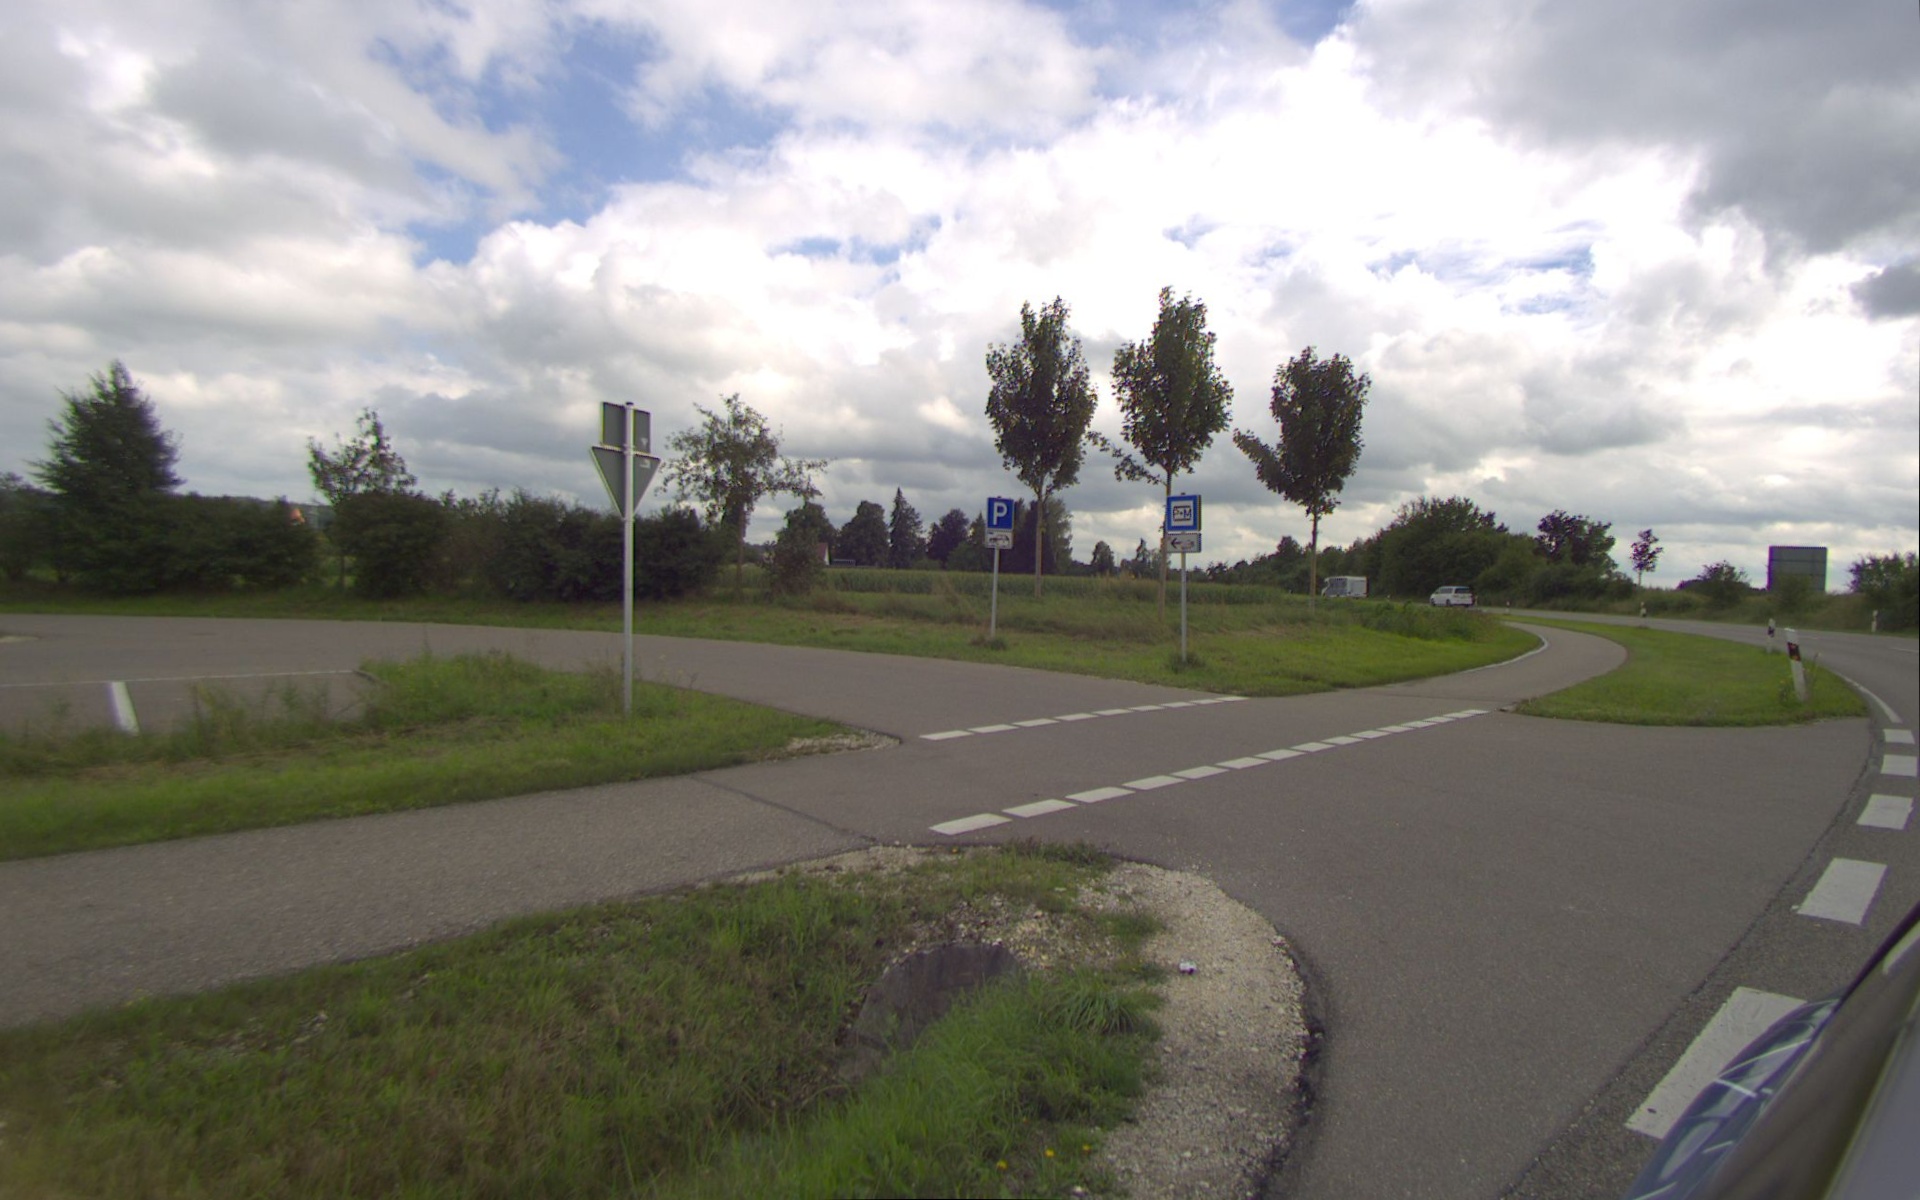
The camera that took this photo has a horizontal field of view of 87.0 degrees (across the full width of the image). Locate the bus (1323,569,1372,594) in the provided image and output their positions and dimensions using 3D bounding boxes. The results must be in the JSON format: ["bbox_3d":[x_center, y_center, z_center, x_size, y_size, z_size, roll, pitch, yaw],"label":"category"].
[{"bbox_3d":[45.711,-2.198,119.707,2.436,2.745,8.431,1,1,0],"label":"bus"}]

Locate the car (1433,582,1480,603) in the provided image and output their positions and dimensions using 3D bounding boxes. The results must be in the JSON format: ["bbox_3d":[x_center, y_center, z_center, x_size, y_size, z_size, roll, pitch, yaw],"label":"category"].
[{"bbox_3d":[46.873,-0.720,95.695,2.081,1.892,5.184,1,1,3],"label":"car"}]
